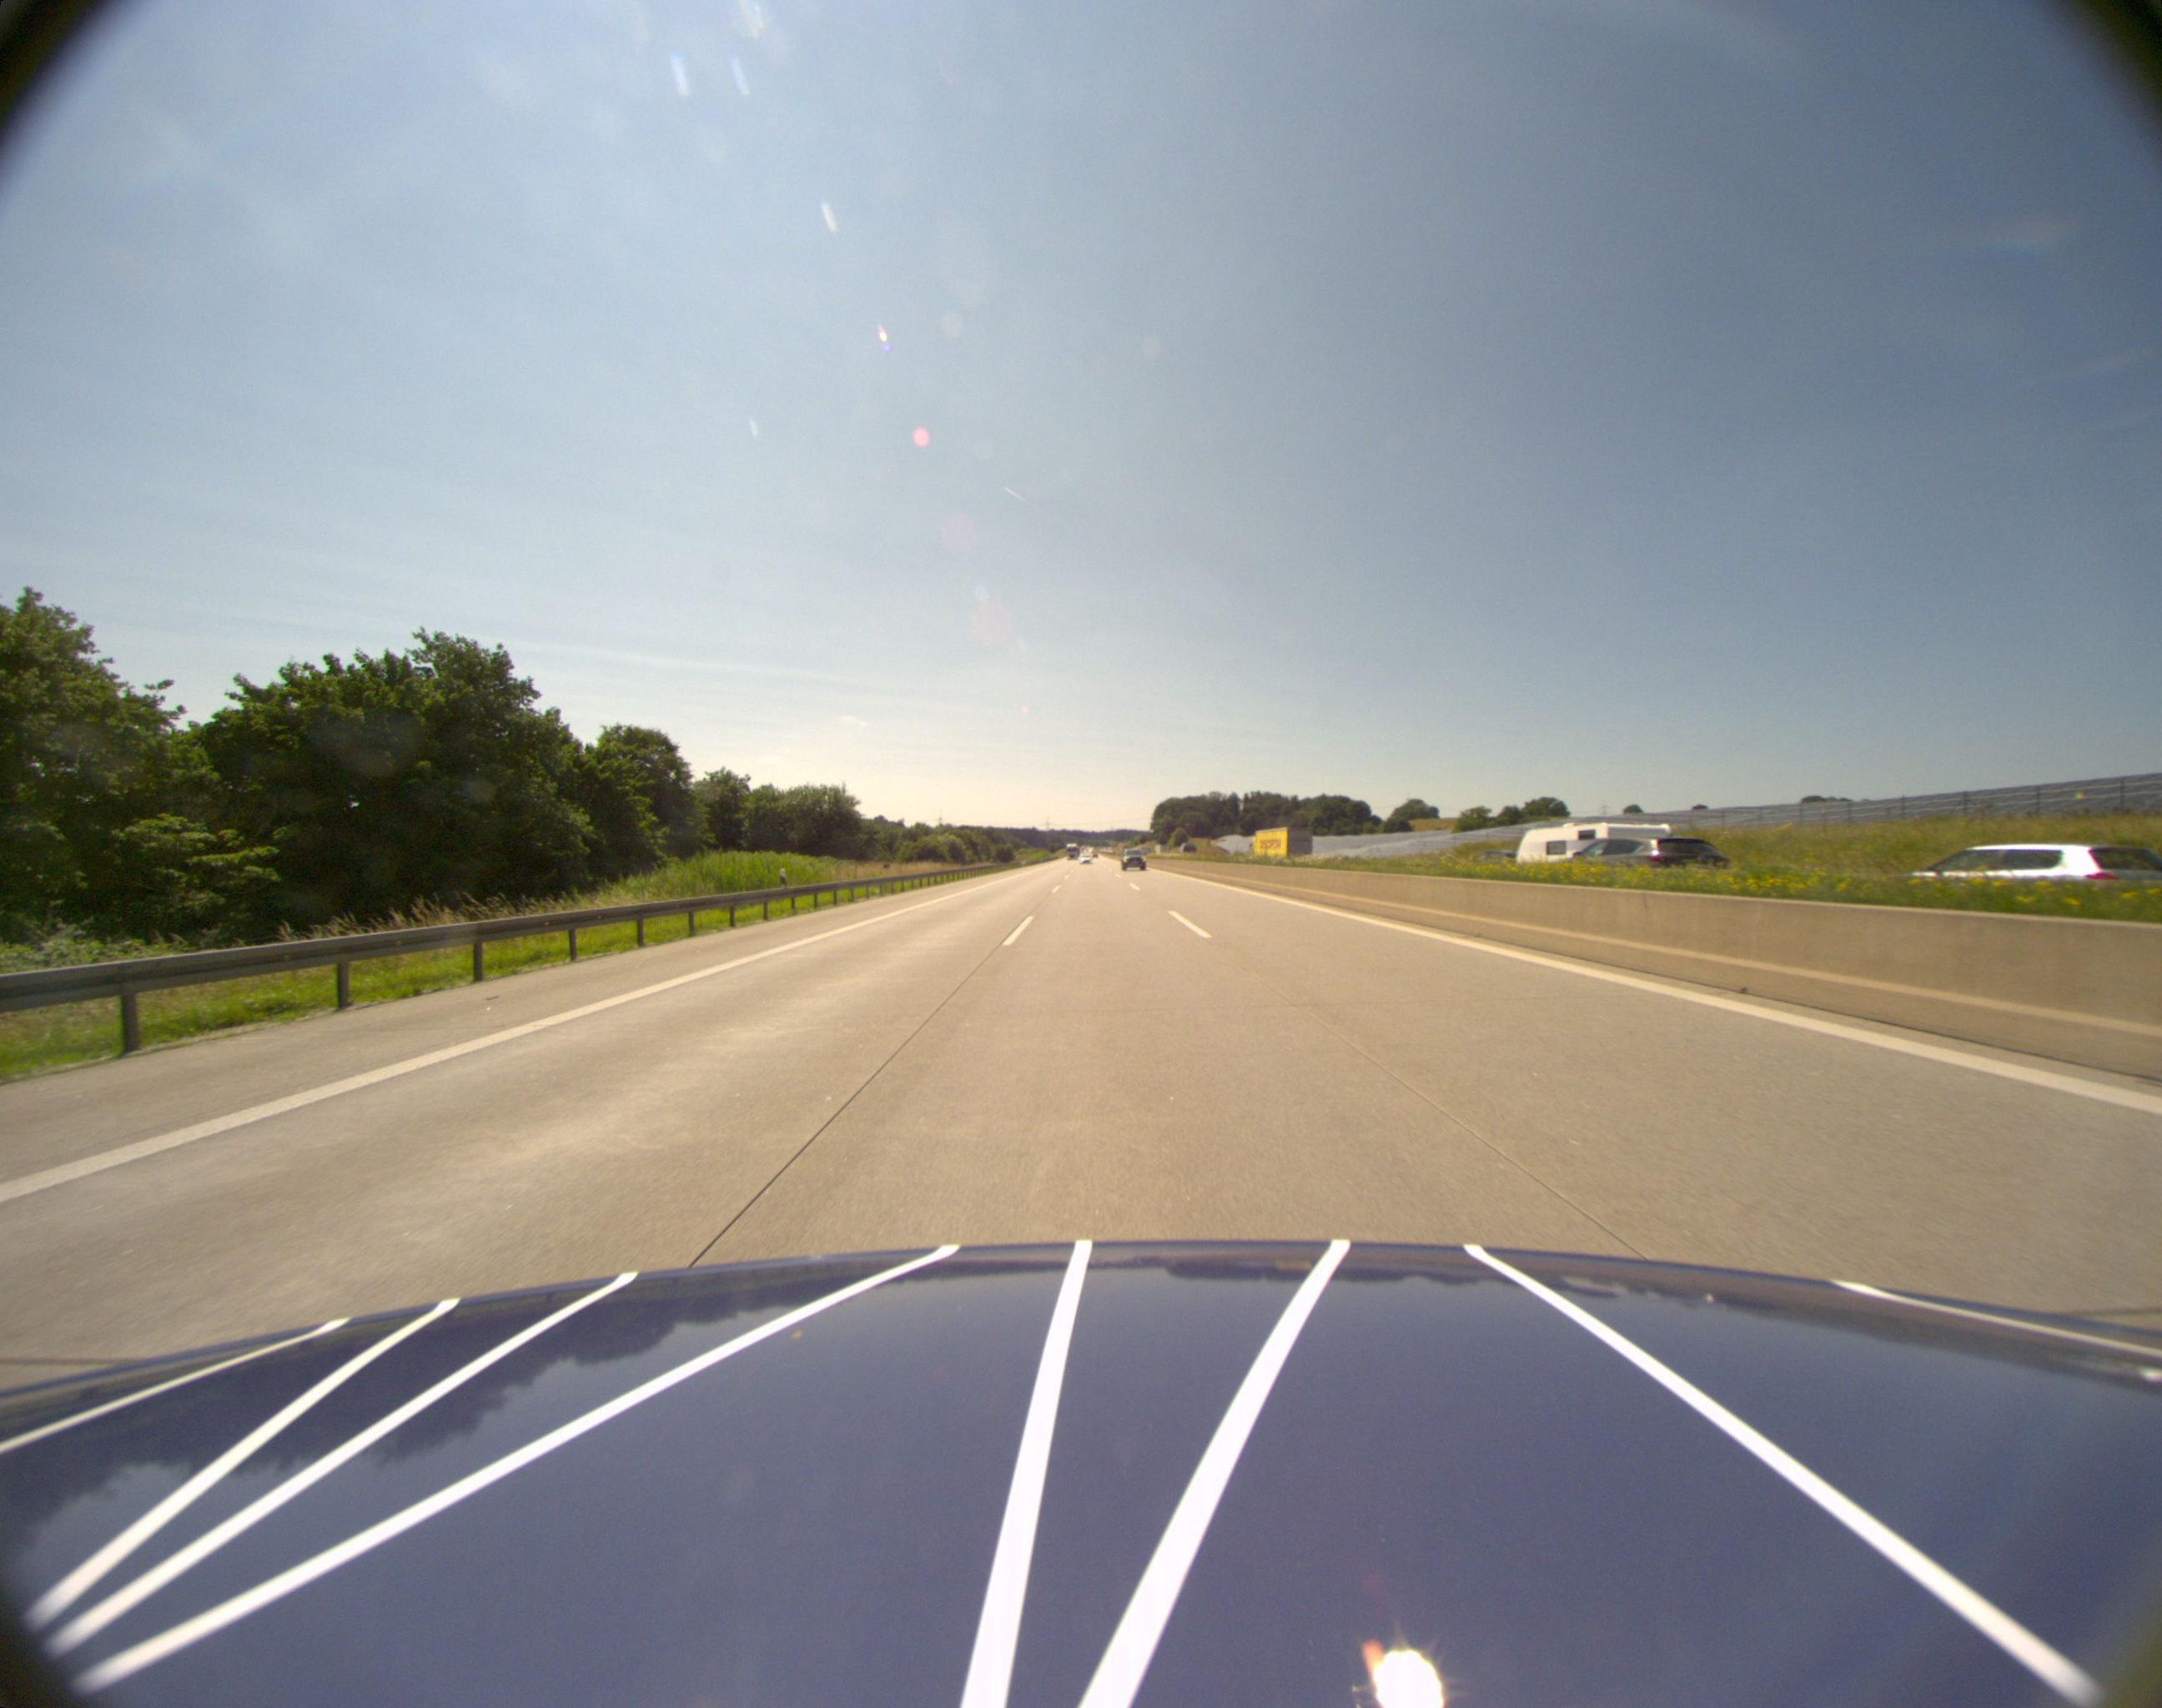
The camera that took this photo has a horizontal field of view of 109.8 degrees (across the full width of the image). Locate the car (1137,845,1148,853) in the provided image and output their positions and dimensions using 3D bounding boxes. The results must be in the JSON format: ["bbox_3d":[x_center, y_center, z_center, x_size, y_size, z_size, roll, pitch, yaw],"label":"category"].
[{"bbox_3d":[15.400,-1.256,190.222,2.189,2.002,6.347,-2,1,0],"label":"car"}]

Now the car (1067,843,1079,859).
[{"bbox_3d":[-2.037,-0.811,198.212,2.766,4.029,10.851,-1,1,1],"label":"car"}]

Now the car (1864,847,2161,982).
[{"bbox_3d":[16.642,0.892,13.327,1.748,1.932,3.940,-2,1,1],"label":"car"}]

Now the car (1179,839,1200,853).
[{"bbox_3d":[14.506,-1.104,102.016,1.998,1.718,5.389,-2,1,1],"label":"car"}]

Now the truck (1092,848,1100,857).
[{"bbox_3d":[4.283,-0.431,222.534,2.262,2.461,6.614,-2,0,1],"label":"truck"}]

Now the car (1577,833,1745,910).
[{"bbox_3d":[13.101,0.357,17.385,1.327,1.523,3.252,-3,1,1],"label":"car"}]

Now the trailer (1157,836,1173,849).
[{"bbox_3d":[23.734,-3.139,215.356,3.082,3.504,11.762,-2,1,1],"label":"trailer"}]

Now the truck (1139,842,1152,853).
[{"bbox_3d":[19.058,-1.981,224.917,2.832,3.046,10.373,-2,1,0],"label":"truck"}]

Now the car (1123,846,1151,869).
[{"bbox_3d":[4.836,0.225,66.582,1.998,1.836,6.529,-3,1,1],"label":"car"}]

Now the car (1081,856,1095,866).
[{"bbox_3d":[1.102,1.035,118.140,2.065,1.472,5.068,-2,1,0],"label":"car"}]

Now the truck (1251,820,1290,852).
[{"bbox_3d":[21.982,-2.019,88.280,2.930,3.520,6.346,-1,1,0],"label":"truck"}]

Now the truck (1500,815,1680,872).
[{"bbox_3d":[20.979,-0.436,31.985,2.523,2.002,7.629,-2,1,1],"label":"truck"}]

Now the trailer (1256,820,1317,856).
[{"bbox_3d":[21.852,-1.659,81.922,2.939,3.530,14.018,0,1,1],"label":"trailer"}]
